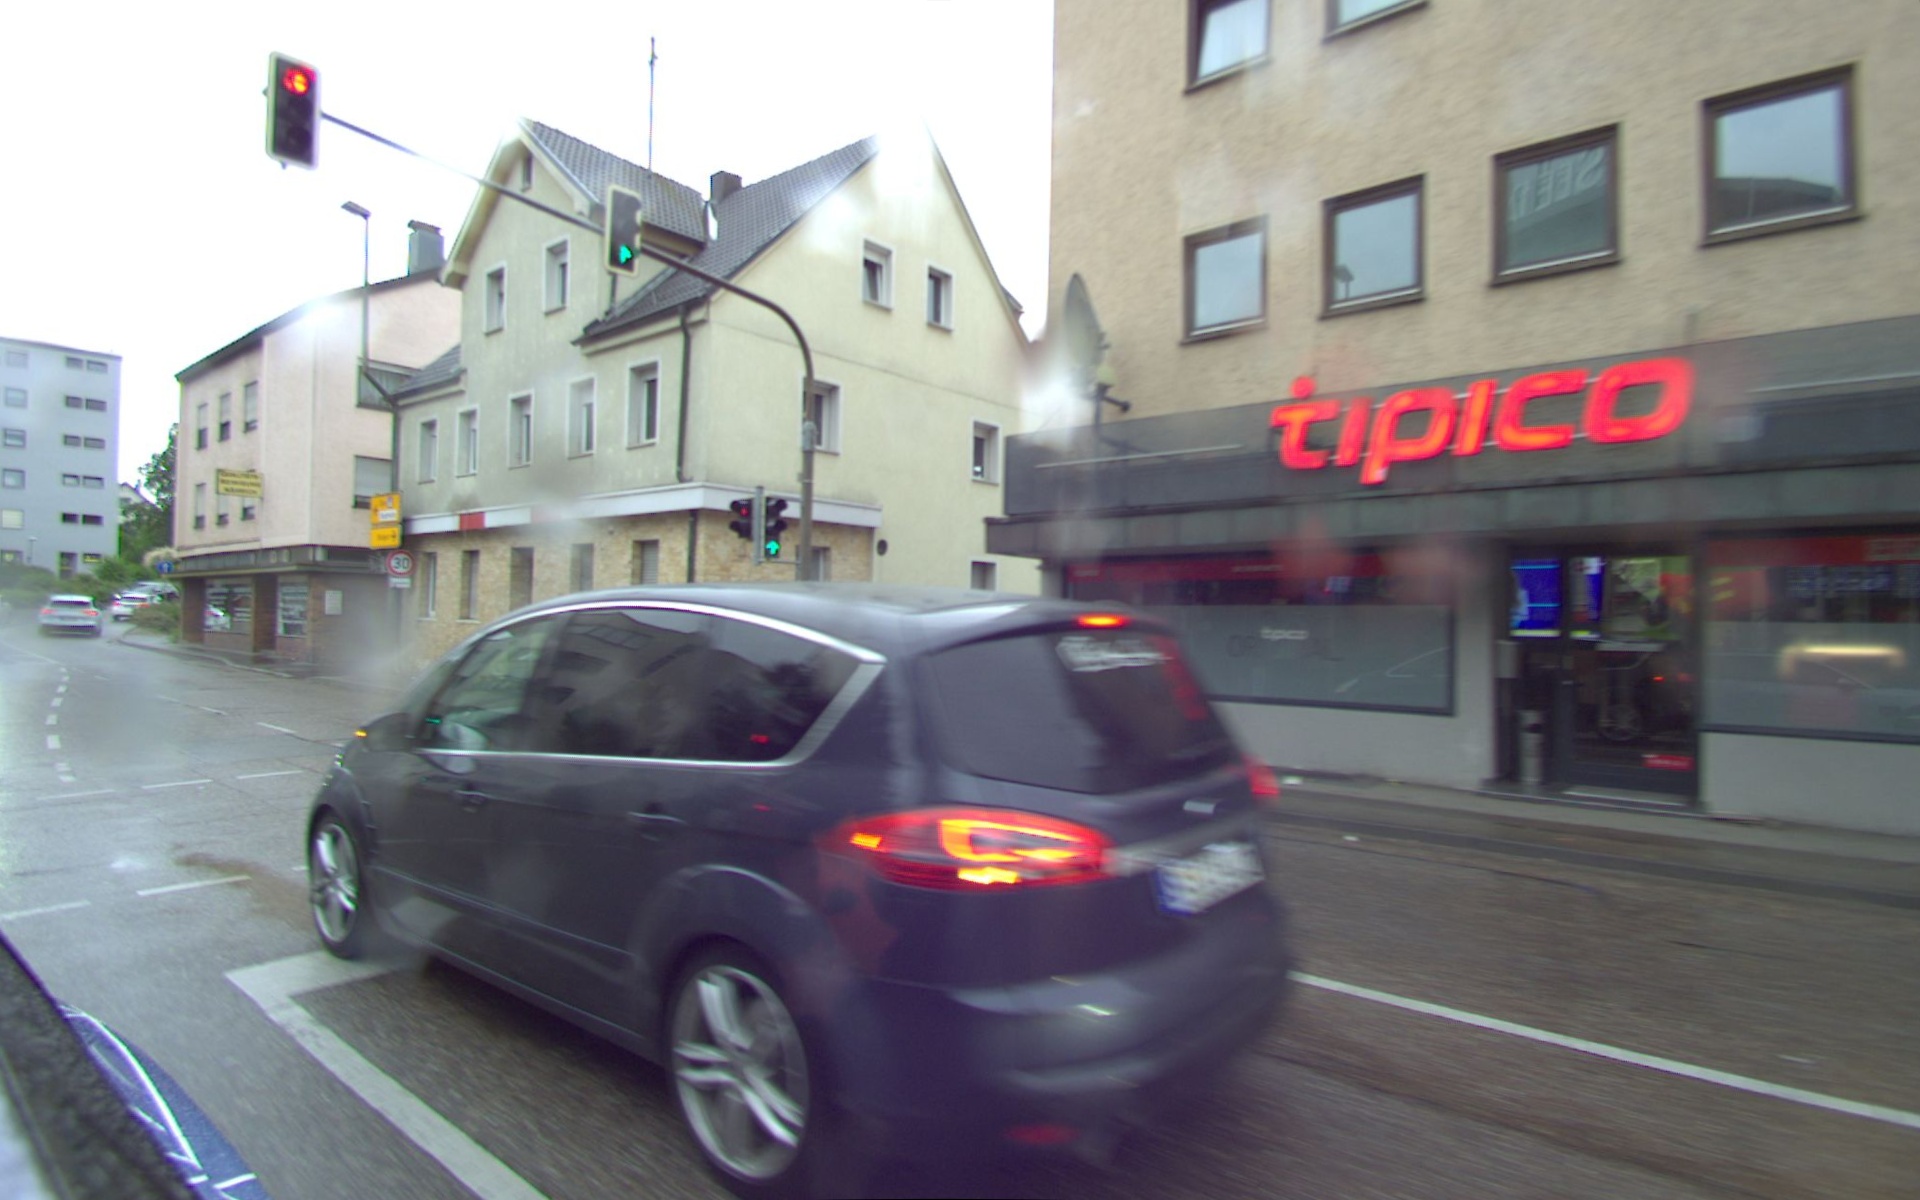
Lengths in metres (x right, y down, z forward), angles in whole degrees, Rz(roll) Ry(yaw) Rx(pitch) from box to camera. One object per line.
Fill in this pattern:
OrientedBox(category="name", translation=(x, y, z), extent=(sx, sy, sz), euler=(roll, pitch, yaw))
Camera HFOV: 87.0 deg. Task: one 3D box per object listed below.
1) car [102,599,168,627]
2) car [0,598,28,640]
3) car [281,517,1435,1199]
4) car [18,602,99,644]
OrientedBox(category="car", translation=(-45.176, 0.752, 55.507), extent=(1.666, 1.383, 4.126), euler=(3, -3, -23))
OrientedBox(category="car", translation=(-43.745, 0.808, 45.307), extent=(1.869, 1.672, 4.958), euler=(5, -6, -31))
OrientedBox(category="car", translation=(-0.797, 0.682, 3.818), extent=(4.398, 1.574, 1.766), euler=(-1, -1, 40))
OrientedBox(category="car", translation=(-36.537, 0.941, 40.982), extent=(4.333, 1.572, 1.766), euler=(-1, -3, 40))
